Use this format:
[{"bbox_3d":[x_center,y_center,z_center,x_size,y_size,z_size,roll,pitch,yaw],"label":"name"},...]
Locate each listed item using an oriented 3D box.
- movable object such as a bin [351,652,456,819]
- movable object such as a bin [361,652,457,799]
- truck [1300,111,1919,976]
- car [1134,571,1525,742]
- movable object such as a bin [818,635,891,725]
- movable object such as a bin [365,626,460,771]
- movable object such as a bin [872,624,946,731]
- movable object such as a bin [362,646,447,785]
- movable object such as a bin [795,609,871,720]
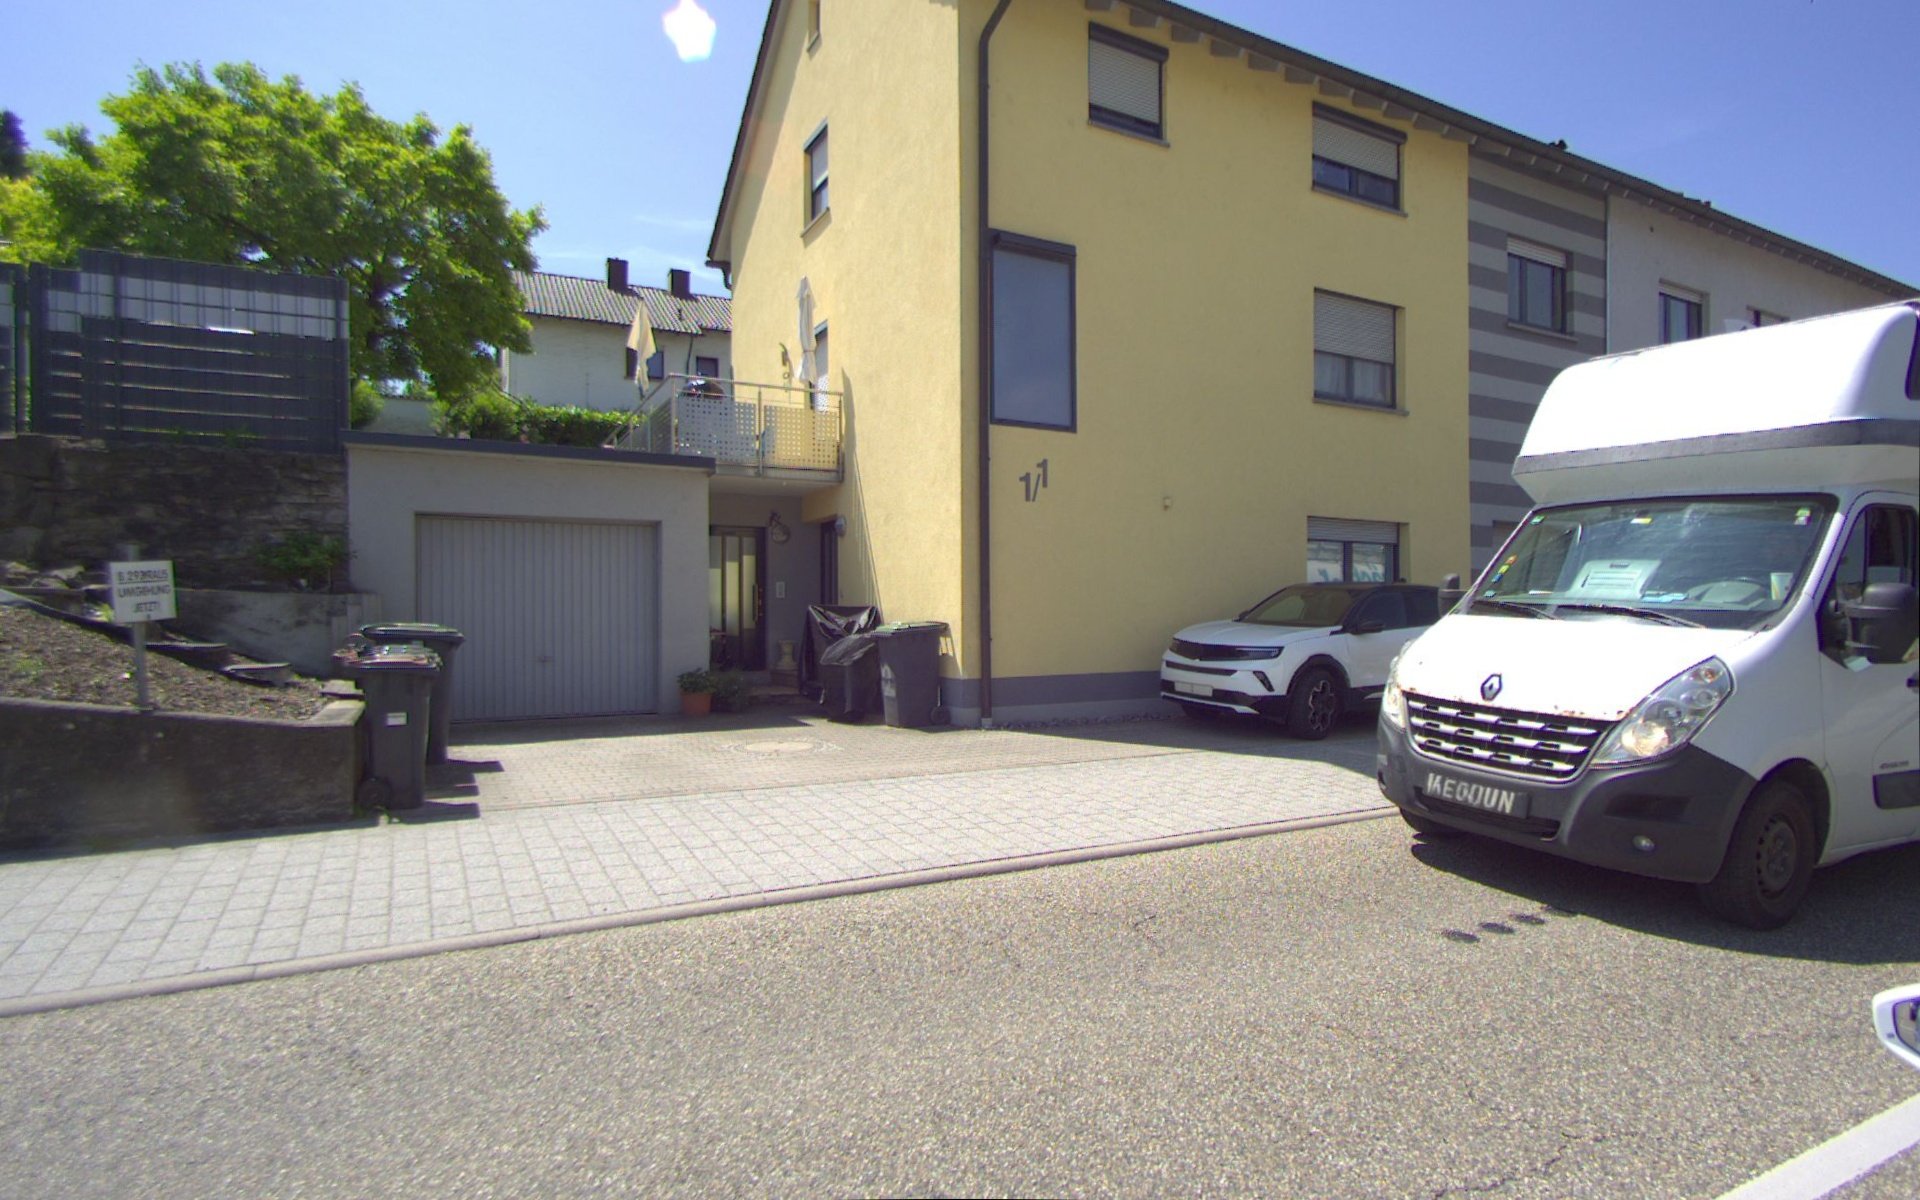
[{"bbox_3d":[-3.488,0.819,6.310,0.547,0.961,0.498,1,0,-30],"label":"movable object such as a bin"},{"bbox_3d":[-3.801,0.841,6.939,0.555,0.941,0.445,1,0,-30],"label":"movable object such as a bin"},{"bbox_3d":[6.050,-0.184,6.733,7.515,3.413,2.458,1,2,-26],"label":"truck"},{"bbox_3d":[4.078,0.543,10.957,4.137,1.572,1.723,1,0,-29],"label":"car"},{"bbox_3d":[-1.141,0.846,10.861,0.600,0.922,0.595,1,-1,-30],"label":"movable object such as a bin"},{"bbox_3d":[-4.282,0.749,7.866,0.627,1.069,0.468,1,0,-30],"label":"movable object such as a bin"},{"bbox_3d":[-0.529,0.781,10.395,0.600,1.057,0.498,1,0,-30],"label":"movable object such as a bin"},{"bbox_3d":[-4.072,0.827,7.372,0.525,0.950,0.445,1,0,-30],"label":"movable object such as a bin"},{"bbox_3d":[-1.453,0.721,11.460,0.687,1.212,0.549,1,0,-30],"label":"movable object such as a bin"}]
